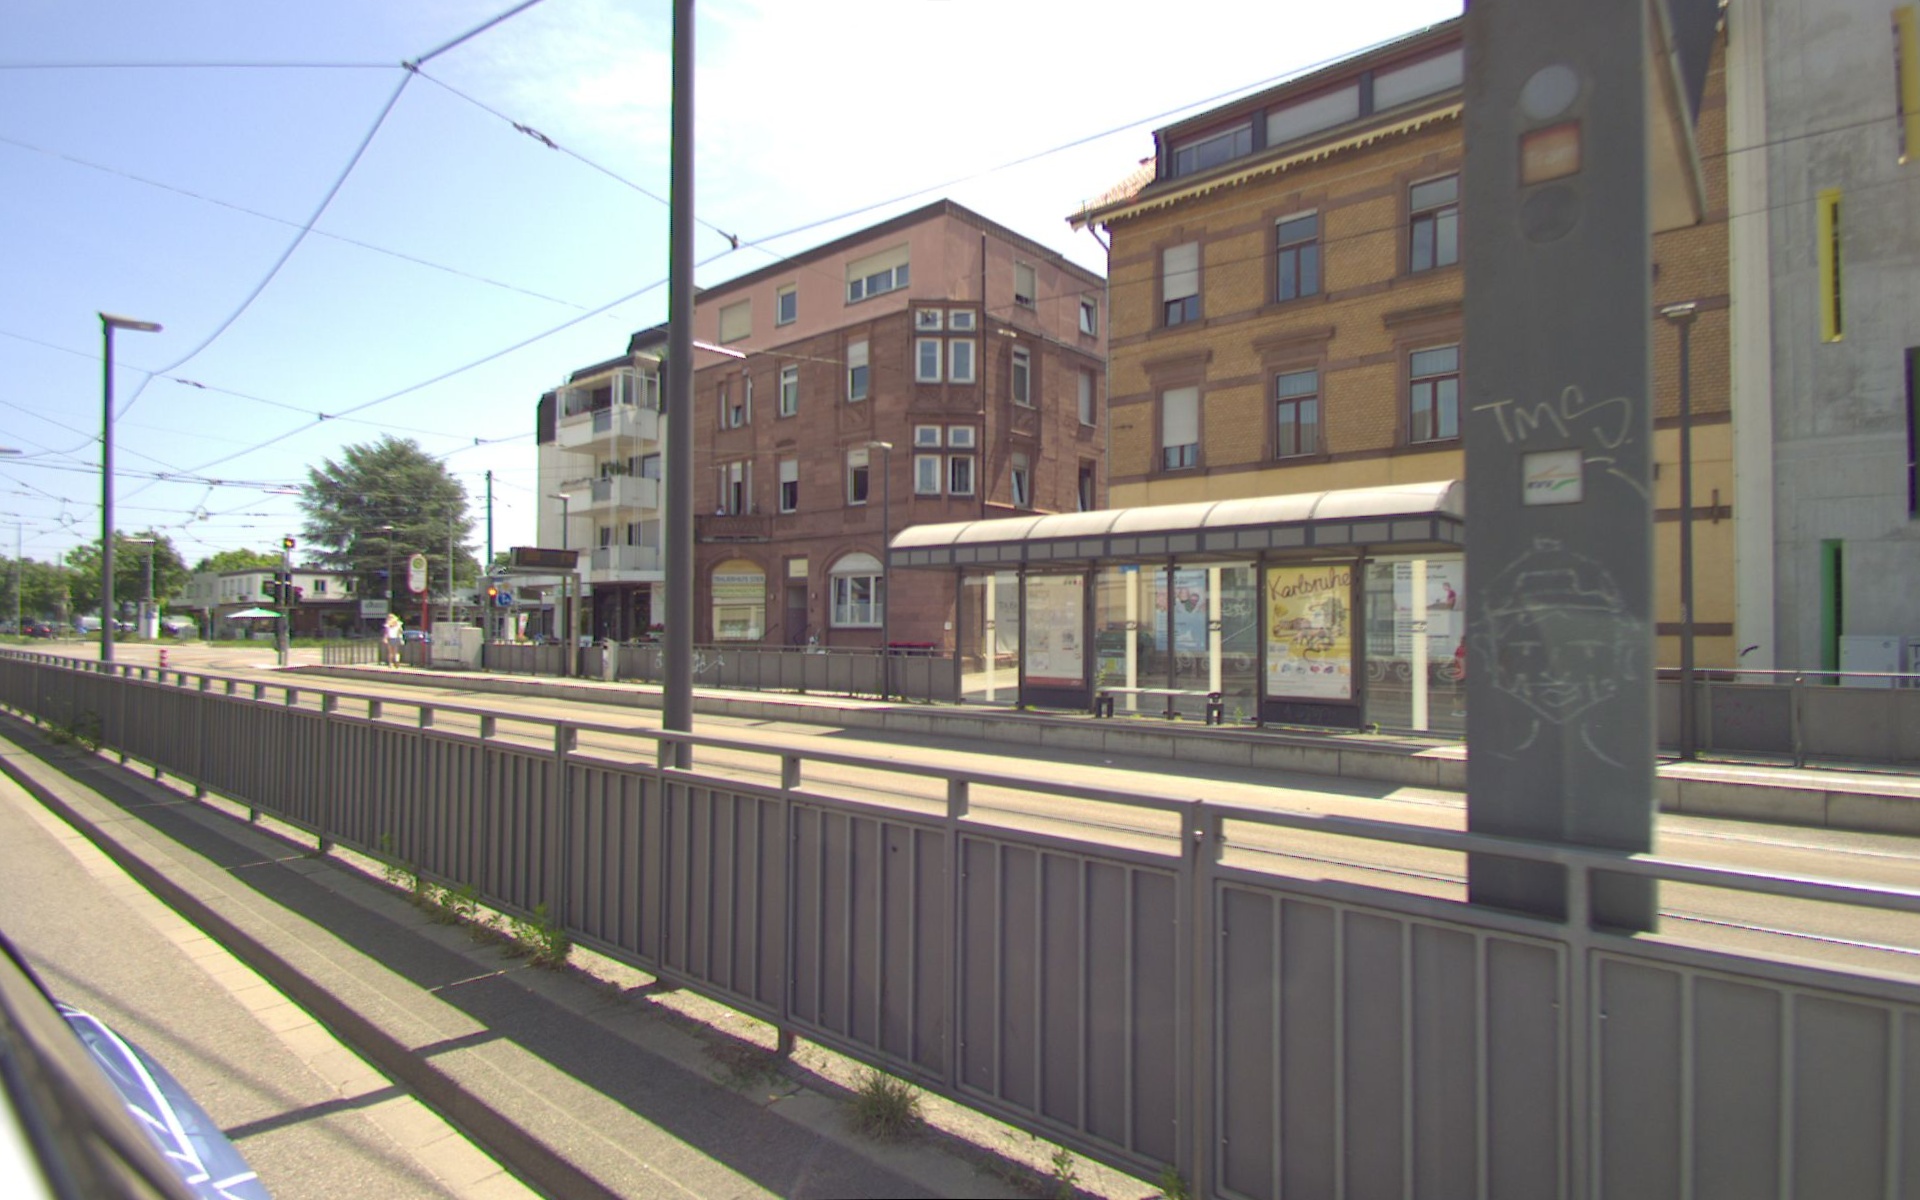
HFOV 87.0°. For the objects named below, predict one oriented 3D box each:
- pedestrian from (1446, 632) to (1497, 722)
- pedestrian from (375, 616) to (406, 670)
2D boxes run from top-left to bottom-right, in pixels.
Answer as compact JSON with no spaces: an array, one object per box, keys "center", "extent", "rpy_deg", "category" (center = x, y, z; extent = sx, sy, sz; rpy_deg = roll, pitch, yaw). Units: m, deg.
[{"center":[9.438,1.402,18.684],"extent":[0.714,1.608,0.597],"rpy_deg":[-1,-2,39],"category":"pedestrian"},{"center":[-17.519,1.317,31.126],"extent":[0.676,1.637,0.590],"rpy_deg":[-1,-4,41],"category":"pedestrian"}]
